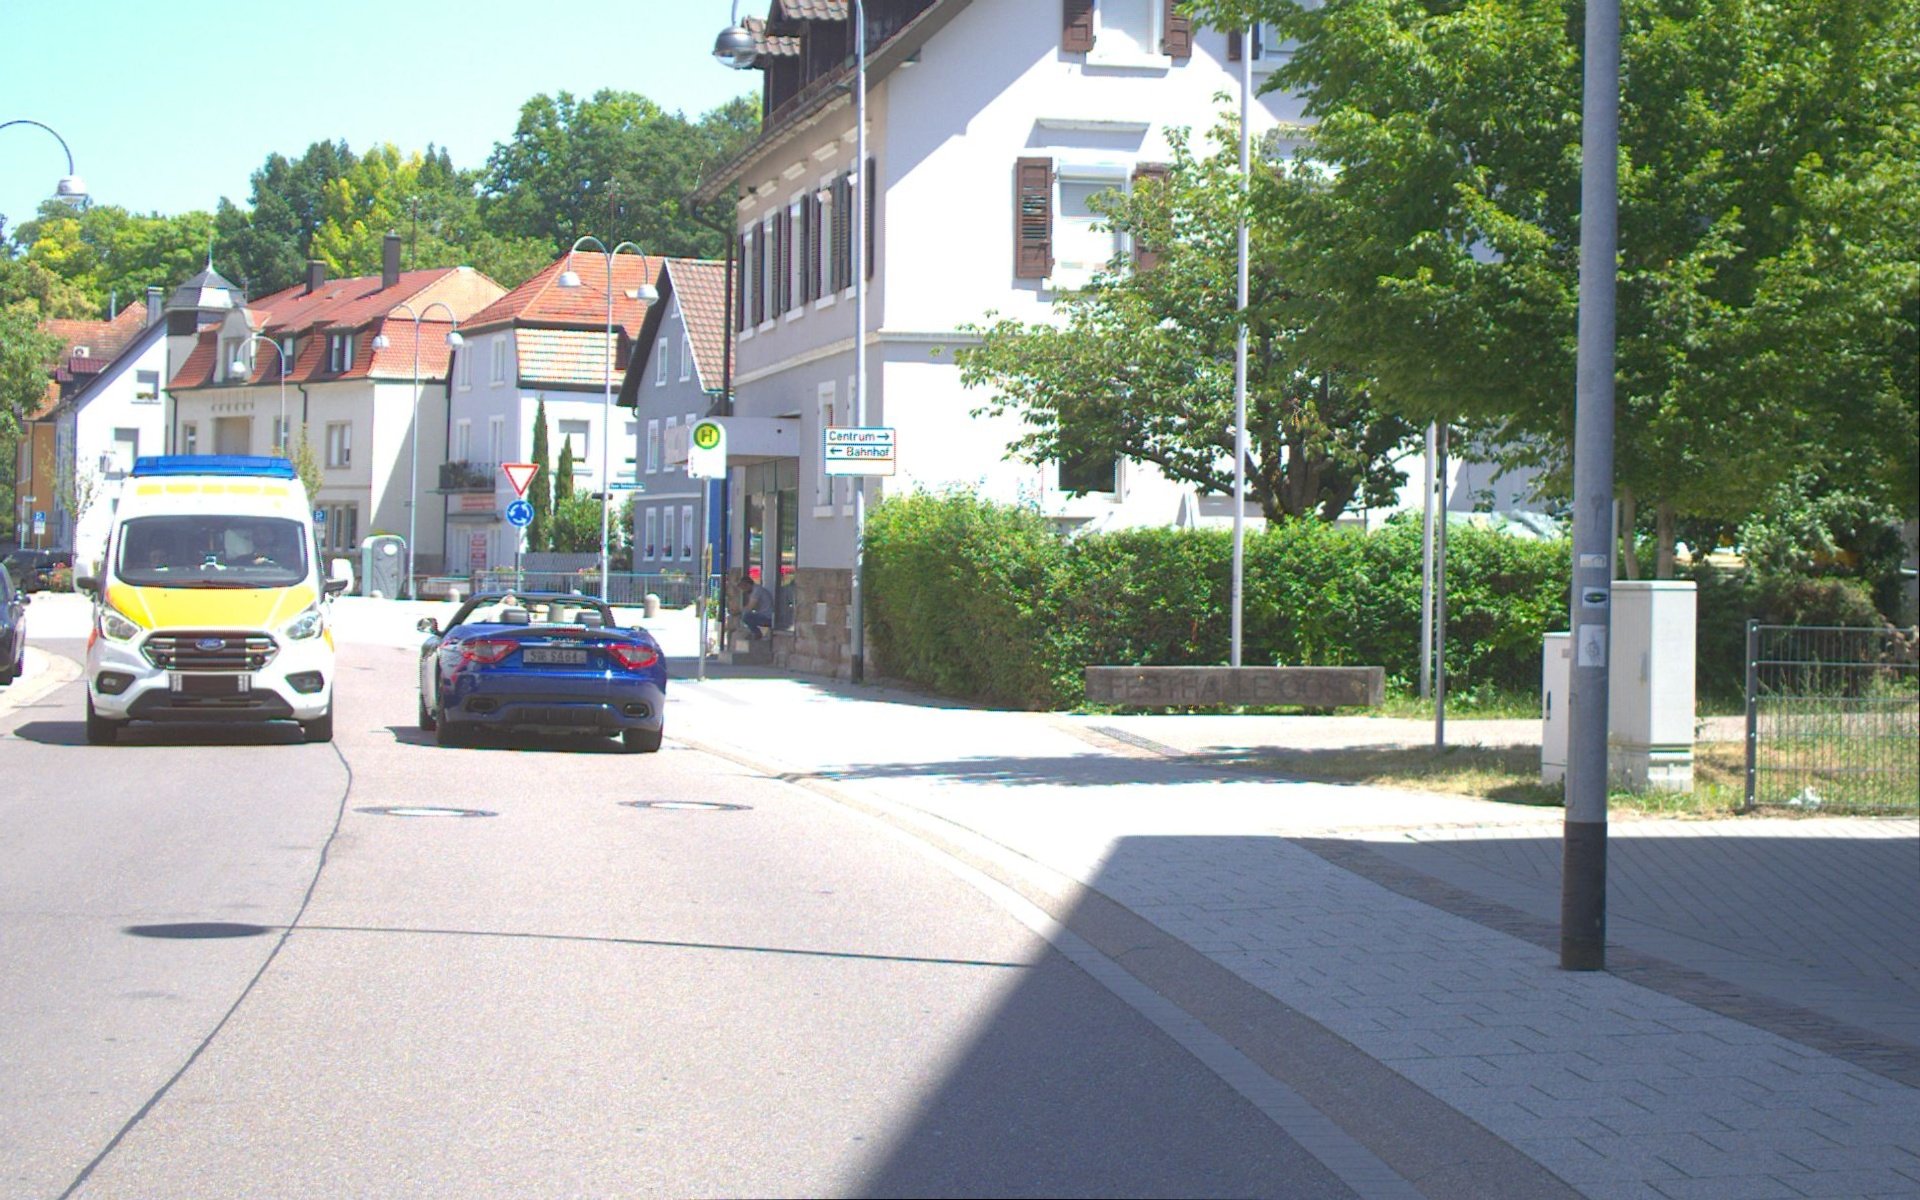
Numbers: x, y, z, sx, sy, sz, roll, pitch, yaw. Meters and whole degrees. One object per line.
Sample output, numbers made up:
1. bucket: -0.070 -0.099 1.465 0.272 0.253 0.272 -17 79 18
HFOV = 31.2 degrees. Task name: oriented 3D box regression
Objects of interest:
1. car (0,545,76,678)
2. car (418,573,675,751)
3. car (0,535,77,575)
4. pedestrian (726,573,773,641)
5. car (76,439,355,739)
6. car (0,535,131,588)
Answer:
1. car: -11.825 0.063 41.638 1.914 1.476 4.339 4 0 -12
2. car: -3.691 0.490 30.076 1.910 1.356 4.287 2 0 -10
3. car: -37.968 -1.847 140.785 1.851 1.582 3.998 -1 1 -42
4. pedestrian: -3.144 0.101 51.281 0.590 0.996 0.724 0 1 -13
5. car: -6.362 -0.119 29.776 2.155 2.354 5.249 0 1 -10
6. car: -23.173 -0.996 88.485 1.994 1.325 4.199 0 1 -39
